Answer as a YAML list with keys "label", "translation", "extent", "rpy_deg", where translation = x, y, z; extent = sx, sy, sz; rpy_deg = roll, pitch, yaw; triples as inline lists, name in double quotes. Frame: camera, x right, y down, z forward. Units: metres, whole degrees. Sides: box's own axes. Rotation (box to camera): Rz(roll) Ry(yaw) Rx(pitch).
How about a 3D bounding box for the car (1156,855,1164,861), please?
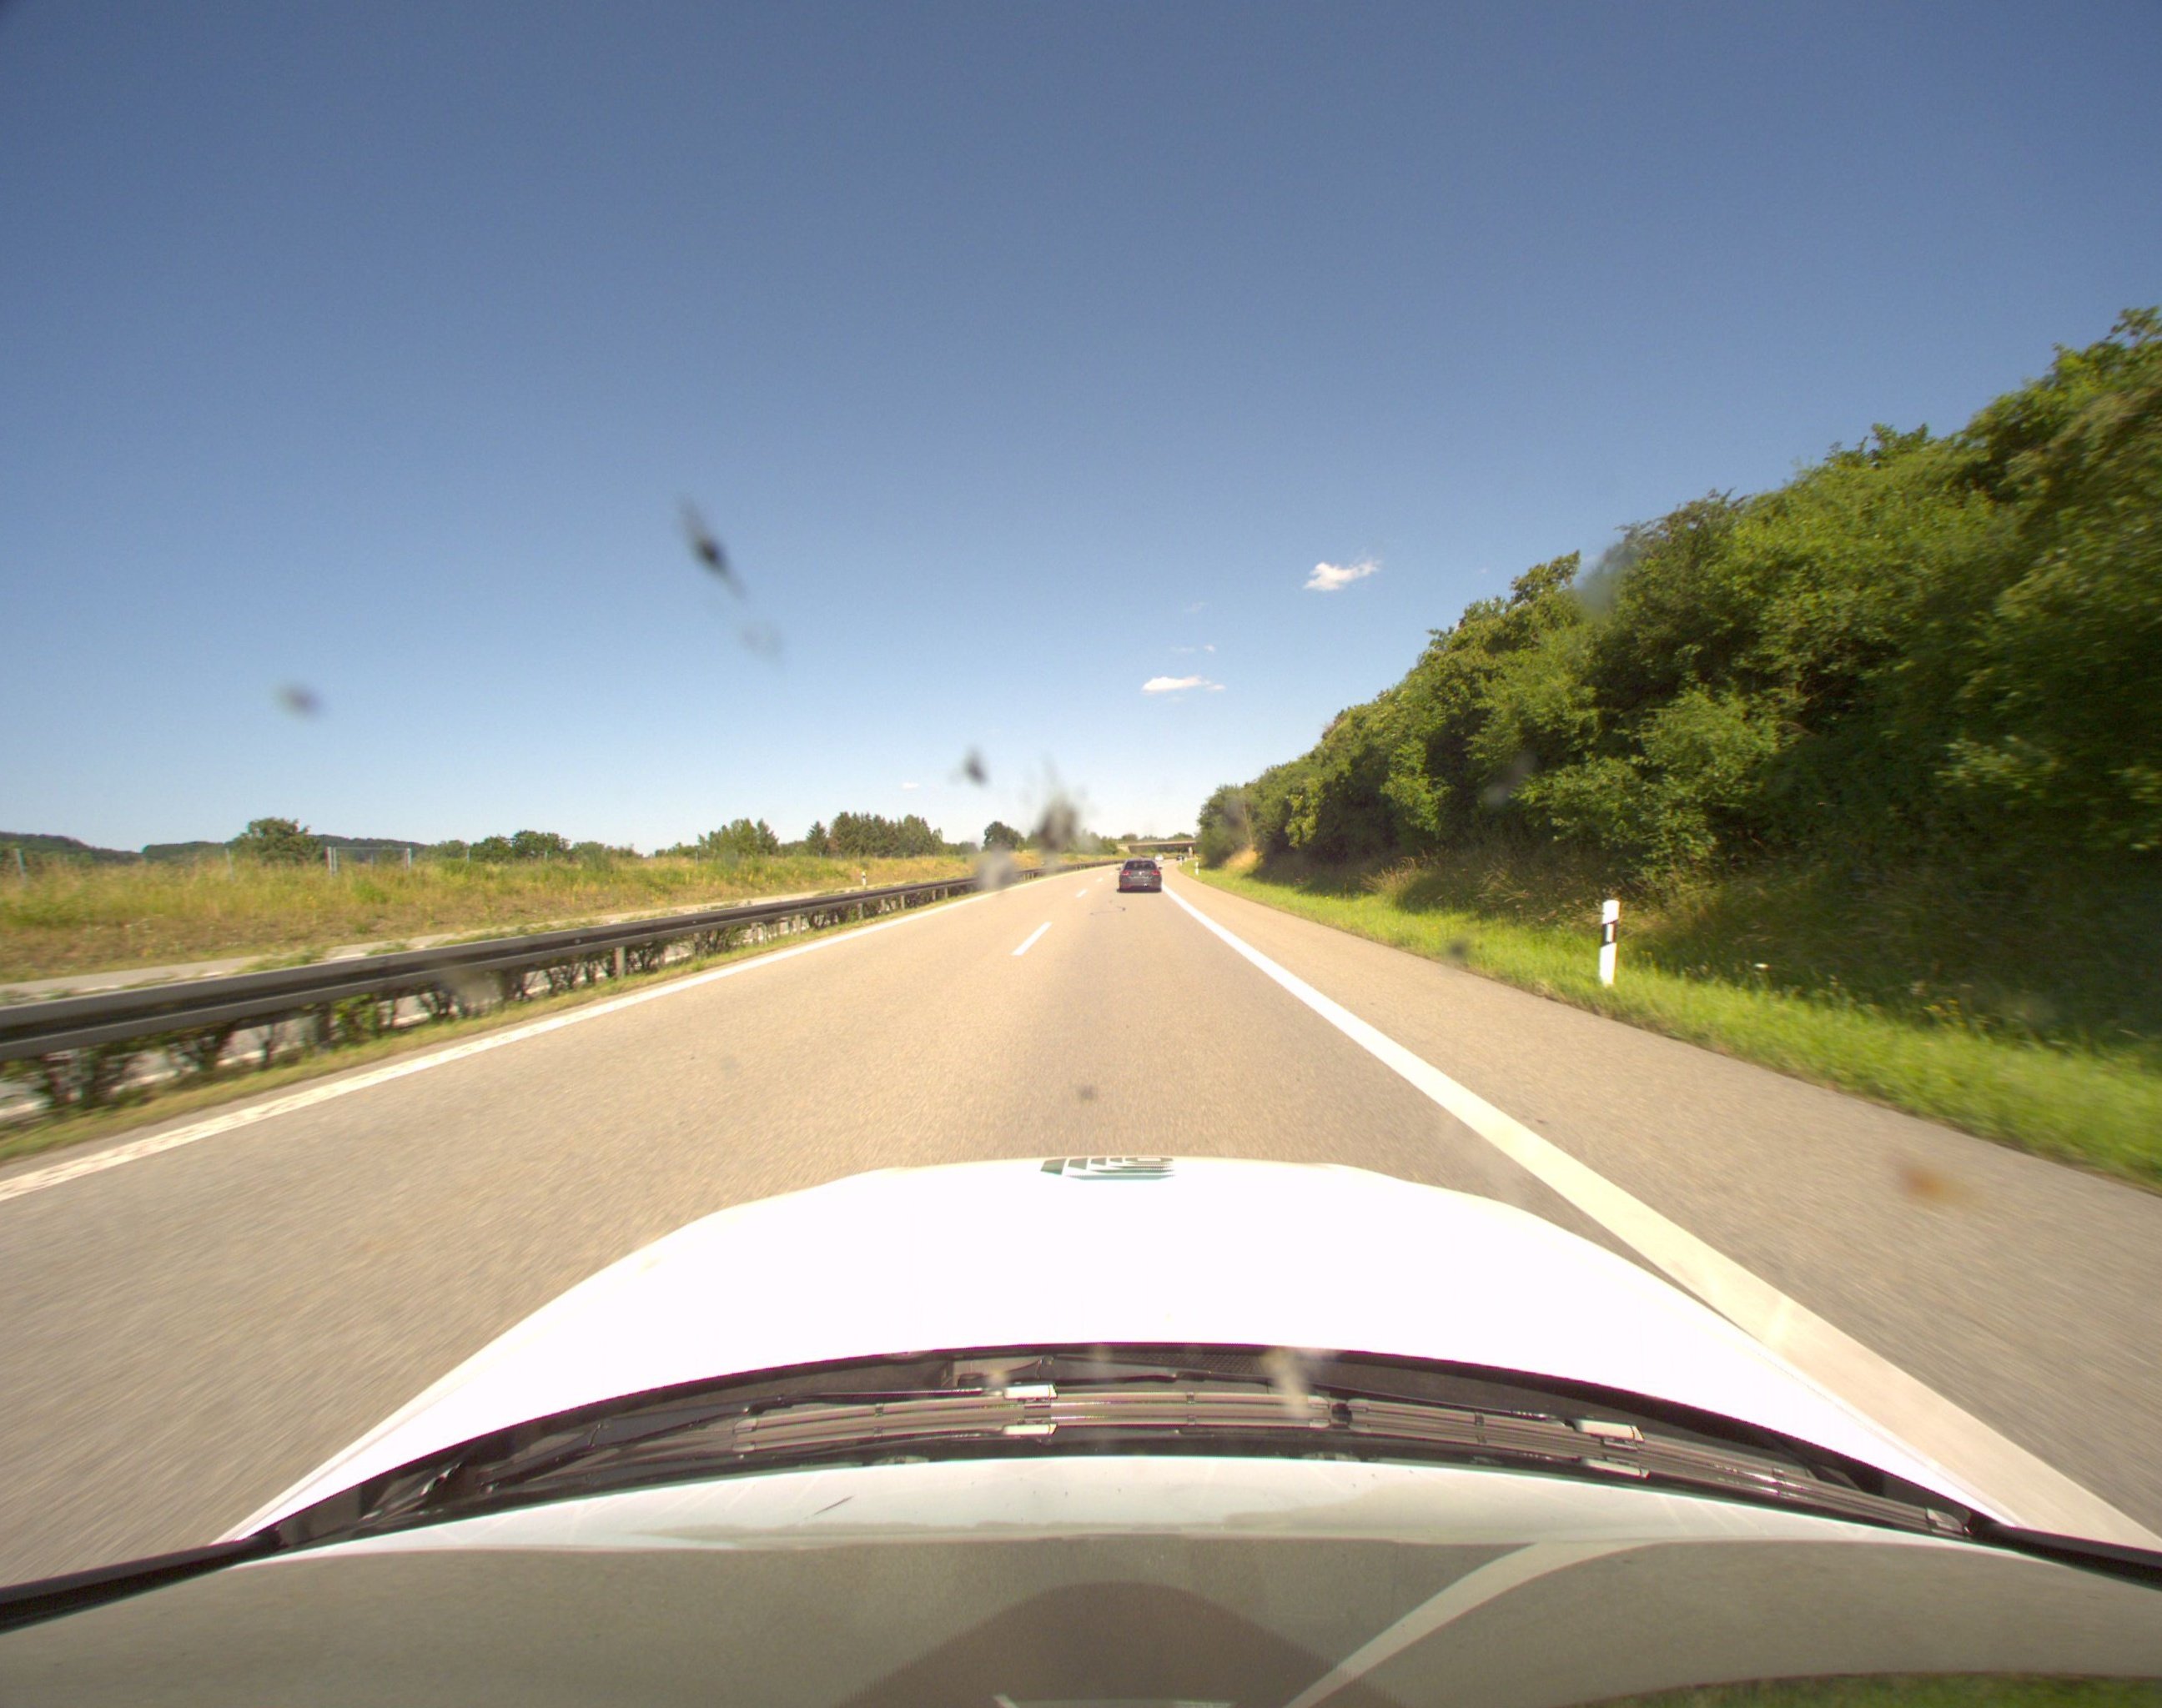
- label: "car"
  translation: [18.949, 1.032, 195.393]
  extent: [1.998, 1.345, 4.004]
  rpy_deg: [0, -1, 5]

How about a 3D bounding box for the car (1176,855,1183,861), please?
- label: "car"
  translation: [25.151, 1.047, 207.219]
  extent: [1.702, 1.387, 3.361]
  rpy_deg: [0, -1, 6]

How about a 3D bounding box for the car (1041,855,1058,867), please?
- label: "car"
  translation: [-4.652, 1.031, 120.177]
  extent: [1.822, 1.552, 4.474]
  rpy_deg: [-2, 1, 7]

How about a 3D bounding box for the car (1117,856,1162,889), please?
- label: "car"
  translation: [2.558, 0.776, 34.958]
  extent: [1.782, 1.344, 4.006]
  rpy_deg: [0, -1, 6]
